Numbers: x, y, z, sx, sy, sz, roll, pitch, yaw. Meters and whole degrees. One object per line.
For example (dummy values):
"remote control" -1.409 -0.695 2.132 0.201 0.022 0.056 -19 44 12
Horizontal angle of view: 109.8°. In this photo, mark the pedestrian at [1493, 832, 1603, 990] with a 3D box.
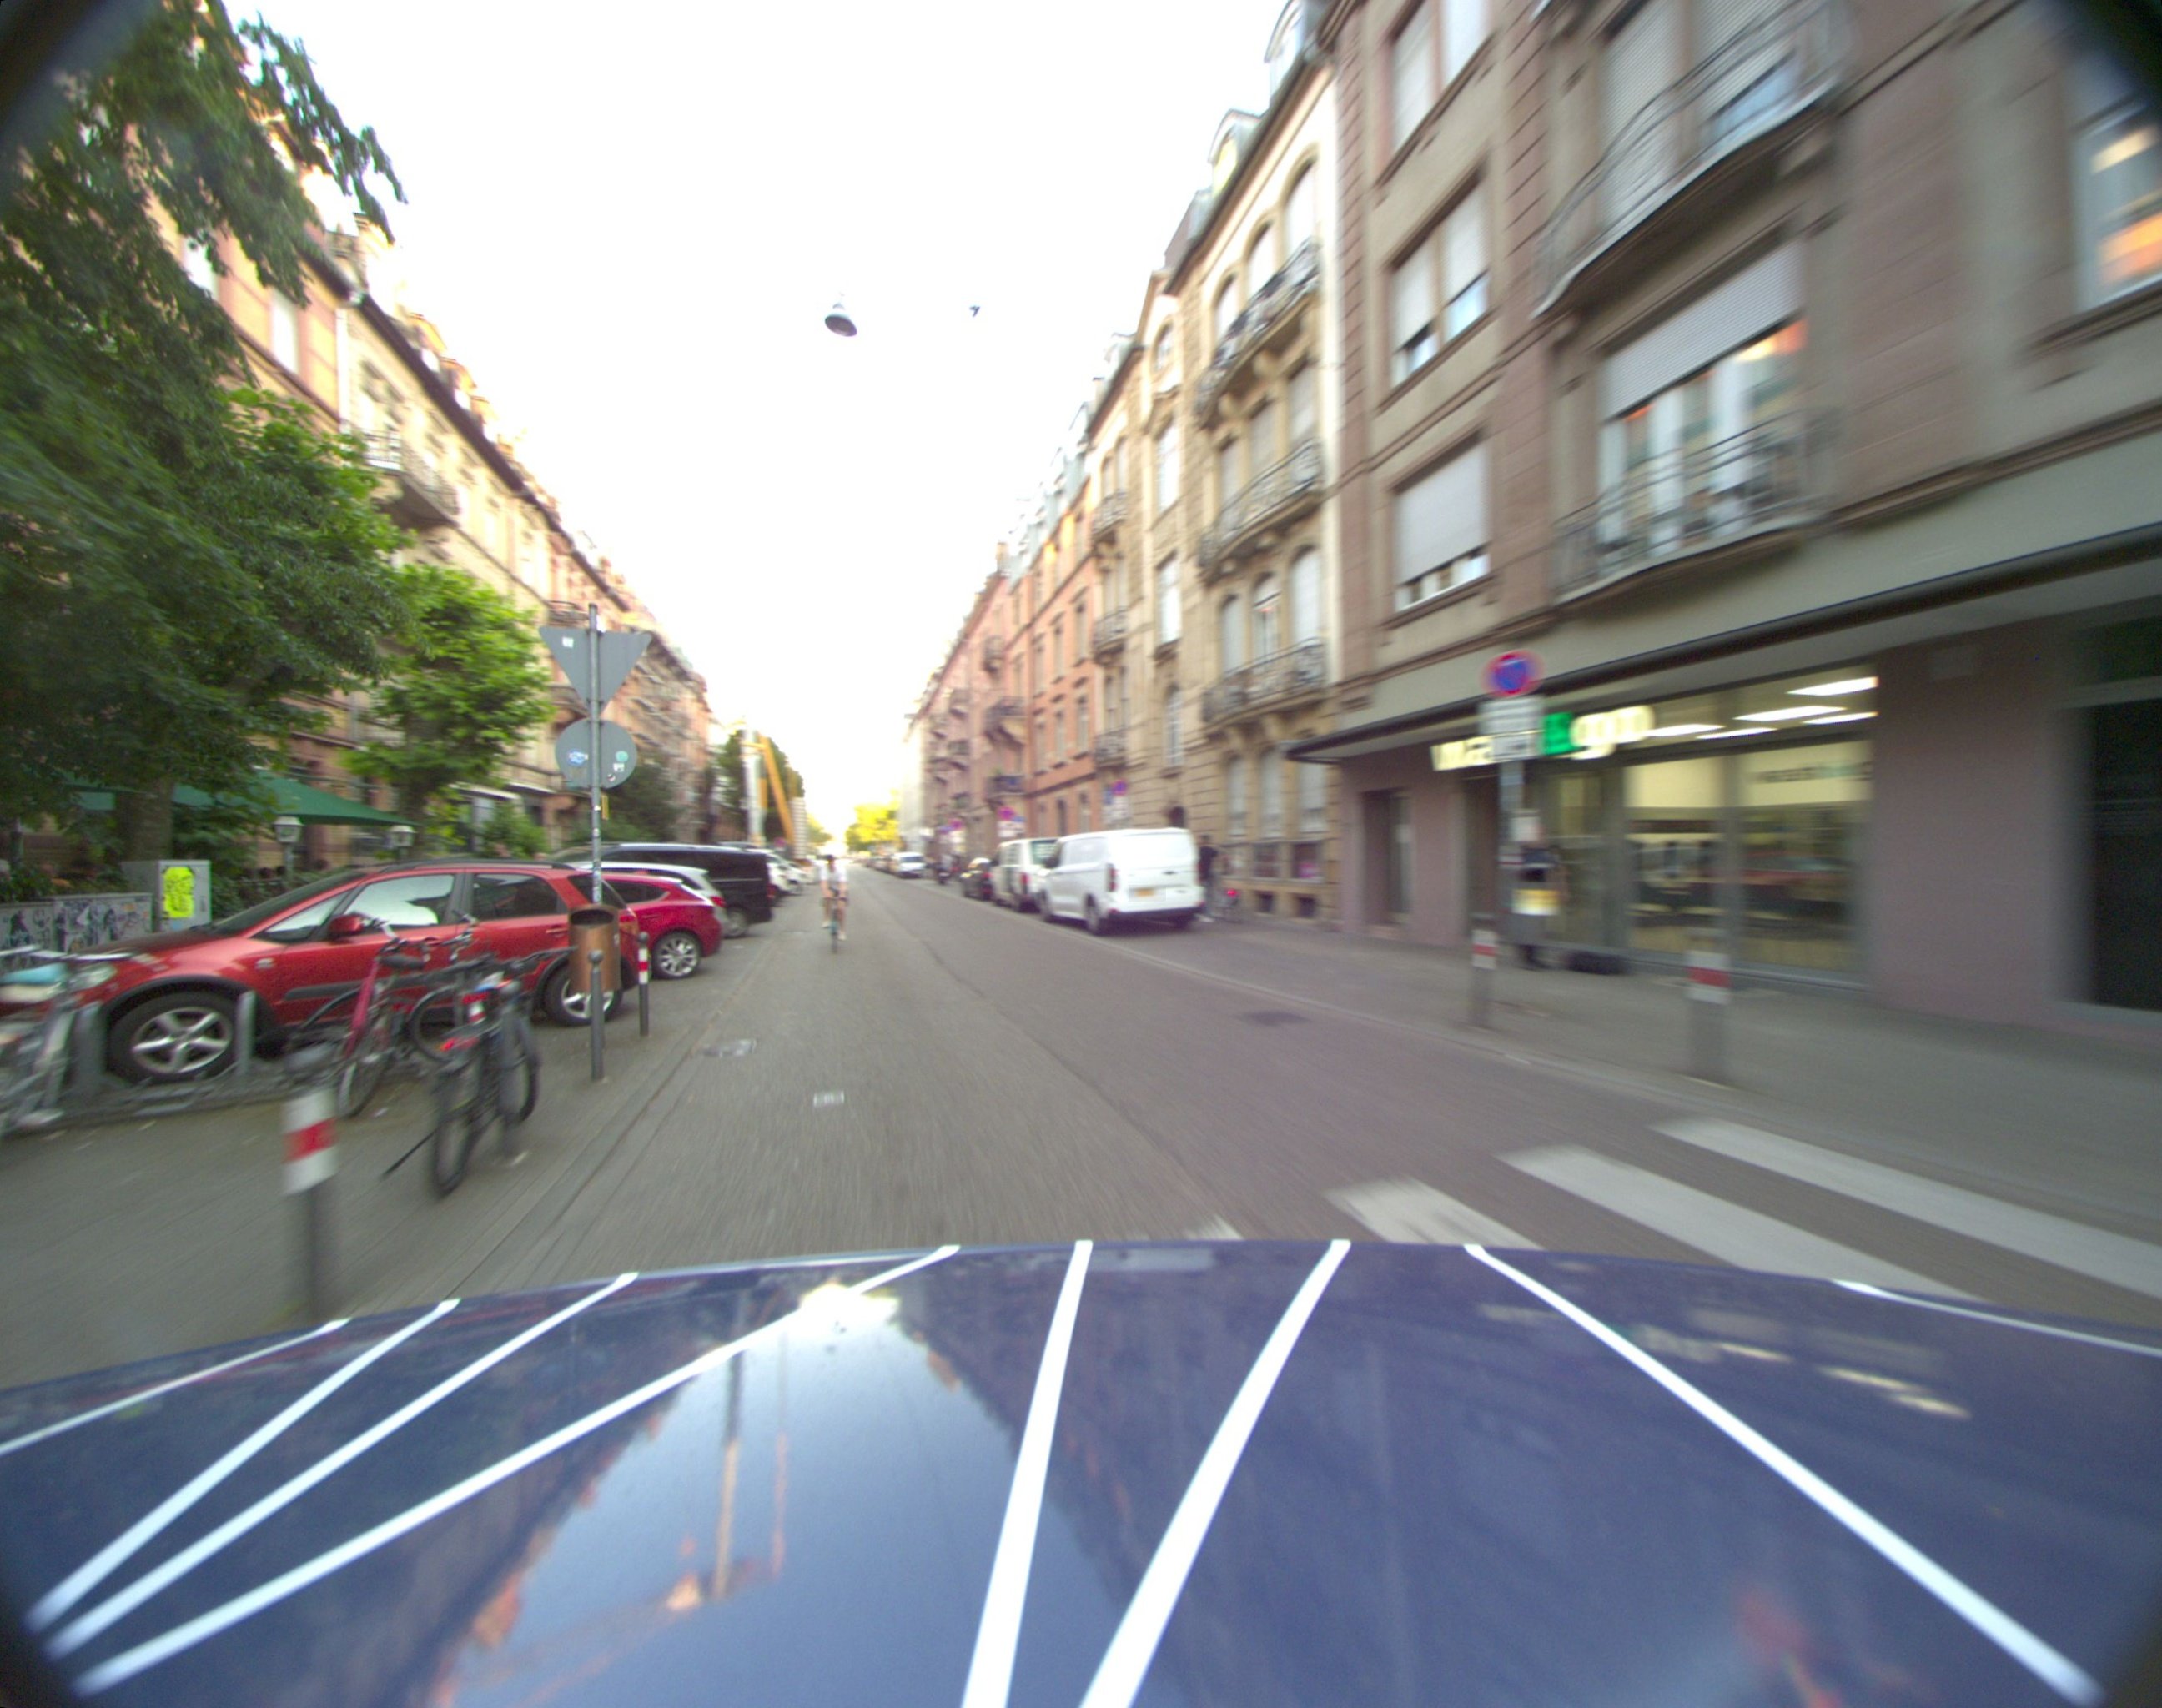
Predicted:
"pedestrian" 5.264 0.613 8.600 0.712 1.668 0.735 -3 1 -17

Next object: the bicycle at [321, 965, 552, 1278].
"bicycle" -3.227 1.233 3.948 0.365 1.057 1.549 -3 2 -21

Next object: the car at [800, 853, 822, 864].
"car" -57.608 0.942 162.265 1.673 2.279 4.202 2 0 34

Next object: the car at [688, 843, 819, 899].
"car" -14.556 0.703 33.955 4.949 2.348 1.994 -1 0 -43

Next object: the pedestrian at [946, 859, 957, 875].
"pedestrian" -9.646 0.964 56.639 0.634 1.133 0.572 -3 2 -19

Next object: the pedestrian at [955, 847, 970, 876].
"pedestrian" -7.579 0.463 48.390 0.684 1.800 0.959 -3 2 -21

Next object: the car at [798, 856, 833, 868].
"car" -34.185 1.001 97.874 1.673 1.510 3.843 2 0 40

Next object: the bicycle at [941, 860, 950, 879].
"bicycle" -8.732 0.992 48.953 0.467 1.148 1.998 -3 1 -10

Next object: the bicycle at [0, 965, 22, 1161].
"bicycle" -5.839 1.172 3.622 0.600 1.057 1.764 1 -1 -44

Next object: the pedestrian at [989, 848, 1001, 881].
"pedestrian" -4.686 0.563 41.399 0.465 1.779 0.641 -3 2 -14

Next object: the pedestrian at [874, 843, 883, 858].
"pedestrian" -37.677 -0.659 141.126 1.447 2.725 1.010 -3 2 -18

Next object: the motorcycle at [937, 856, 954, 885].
"motorcycle" -7.184 0.853 40.199 0.687 1.397 2.011 -3 2 -15

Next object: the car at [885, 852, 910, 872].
"car" -17.716 0.748 73.177 1.935 1.872 4.897 -2 0 -18

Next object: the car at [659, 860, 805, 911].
"car" -11.827 1.044 25.961 1.813 1.581 4.119 0 -1 42

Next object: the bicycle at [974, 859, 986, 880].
"bicycle" -5.984 0.920 44.967 0.413 1.153 1.835 -3 1 -16

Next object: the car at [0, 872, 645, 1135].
"car" -6.286 0.981 6.544 1.688 1.618 4.058 -1 -2 41

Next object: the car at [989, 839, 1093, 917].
"car" -1.273 0.596 21.726 1.844 1.910 4.838 -2 1 -16

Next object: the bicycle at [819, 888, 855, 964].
"bicycle" -4.373 1.239 13.575 0.521 1.148 1.780 -3 2 -19

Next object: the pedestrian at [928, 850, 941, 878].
"pedestrian" -9.842 0.677 51.108 0.600 1.804 0.719 -3 2 -26

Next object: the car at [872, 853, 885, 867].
"car" -31.083 0.894 116.646 1.788 1.860 4.450 -3 1 -16

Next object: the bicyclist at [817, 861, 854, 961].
"bicyclist" -4.381 0.997 13.576 0.529 1.694 0.788 -3 2 -19

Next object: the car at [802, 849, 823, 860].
"car" -60.170 0.166 170.289 1.673 2.245 4.203 2 0 38

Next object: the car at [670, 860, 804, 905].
"car" -12.917 1.064 28.676 1.880 1.581 4.176 -1 -2 42

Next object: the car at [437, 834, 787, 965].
"car" -8.729 0.787 14.781 1.928 2.060 5.449 0 -1 35

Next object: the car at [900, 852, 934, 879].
"car" -11.760 0.756 54.195 1.777 1.779 4.579 -2 1 -19

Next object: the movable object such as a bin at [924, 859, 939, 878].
"movable object such as a bin" -10.192 0.982 51.719 0.891 1.244 0.775 -3 2 -17

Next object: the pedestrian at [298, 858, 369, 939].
"pedestrian" -13.202 0.766 13.443 0.590 1.358 0.696 -3 2 -21

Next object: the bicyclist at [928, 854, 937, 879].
"bicyclist" -9.389 0.782 48.182 0.467 1.581 0.486 -3 2 -14

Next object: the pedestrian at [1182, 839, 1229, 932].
"pedestrian" 2.545 0.620 15.609 0.538 1.813 0.995 -3 2 -14

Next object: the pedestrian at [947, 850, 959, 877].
"pedestrian" -8.697 0.624 51.450 0.599 1.804 0.720 -2 2 1

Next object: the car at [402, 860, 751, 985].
"car" -7.803 0.953 12.105 1.928 1.612 4.234 0 -1 40

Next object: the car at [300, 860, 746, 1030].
"car" -6.879 0.964 9.847 1.928 1.678 4.234 0 -1 35

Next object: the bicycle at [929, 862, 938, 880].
"bicycle" -9.317 1.050 47.953 0.467 1.062 1.518 -3 1 -14

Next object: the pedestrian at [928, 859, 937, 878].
"pedestrian" -10.160 0.979 51.826 0.480 1.244 0.651 -3 2 -17

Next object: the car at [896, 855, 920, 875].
"car" -14.580 0.898 63.932 1.712 1.521 3.787 -2 0 -16

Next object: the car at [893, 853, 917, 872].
"car" -15.816 0.734 68.193 1.935 1.587 3.964 -2 0 -16

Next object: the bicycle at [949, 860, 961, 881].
"bicycle" -7.461 0.982 44.870 0.413 1.153 1.835 -3 1 -16

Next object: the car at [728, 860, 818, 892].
"car" -15.923 1.101 39.341 3.875 1.507 1.843 -1 0 -43

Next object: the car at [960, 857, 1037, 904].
"car" -3.037 0.878 27.194 1.844 1.462 4.165 -2 1 -19

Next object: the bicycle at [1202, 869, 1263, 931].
"bicycle" 3.102 0.910 15.712 0.473 1.136 1.782 -3 2 -14

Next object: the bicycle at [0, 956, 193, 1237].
"bicycle" -5.377 1.185 4.060 0.600 1.057 1.764 -4 2 -44

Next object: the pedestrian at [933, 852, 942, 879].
"pedestrian" -9.233 0.741 48.913 0.419 1.699 0.350 -3 2 -22

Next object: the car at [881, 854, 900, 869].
"car" -21.880 0.815 87.181 1.732 1.638 3.910 -3 1 -17

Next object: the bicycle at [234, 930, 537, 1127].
"bicycle" -4.892 1.183 5.466 1.555 1.154 0.364 0 1 -32

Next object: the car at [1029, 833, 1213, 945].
"car" 0.598 0.600 15.972 2.118 1.910 5.017 -2 1 -19
